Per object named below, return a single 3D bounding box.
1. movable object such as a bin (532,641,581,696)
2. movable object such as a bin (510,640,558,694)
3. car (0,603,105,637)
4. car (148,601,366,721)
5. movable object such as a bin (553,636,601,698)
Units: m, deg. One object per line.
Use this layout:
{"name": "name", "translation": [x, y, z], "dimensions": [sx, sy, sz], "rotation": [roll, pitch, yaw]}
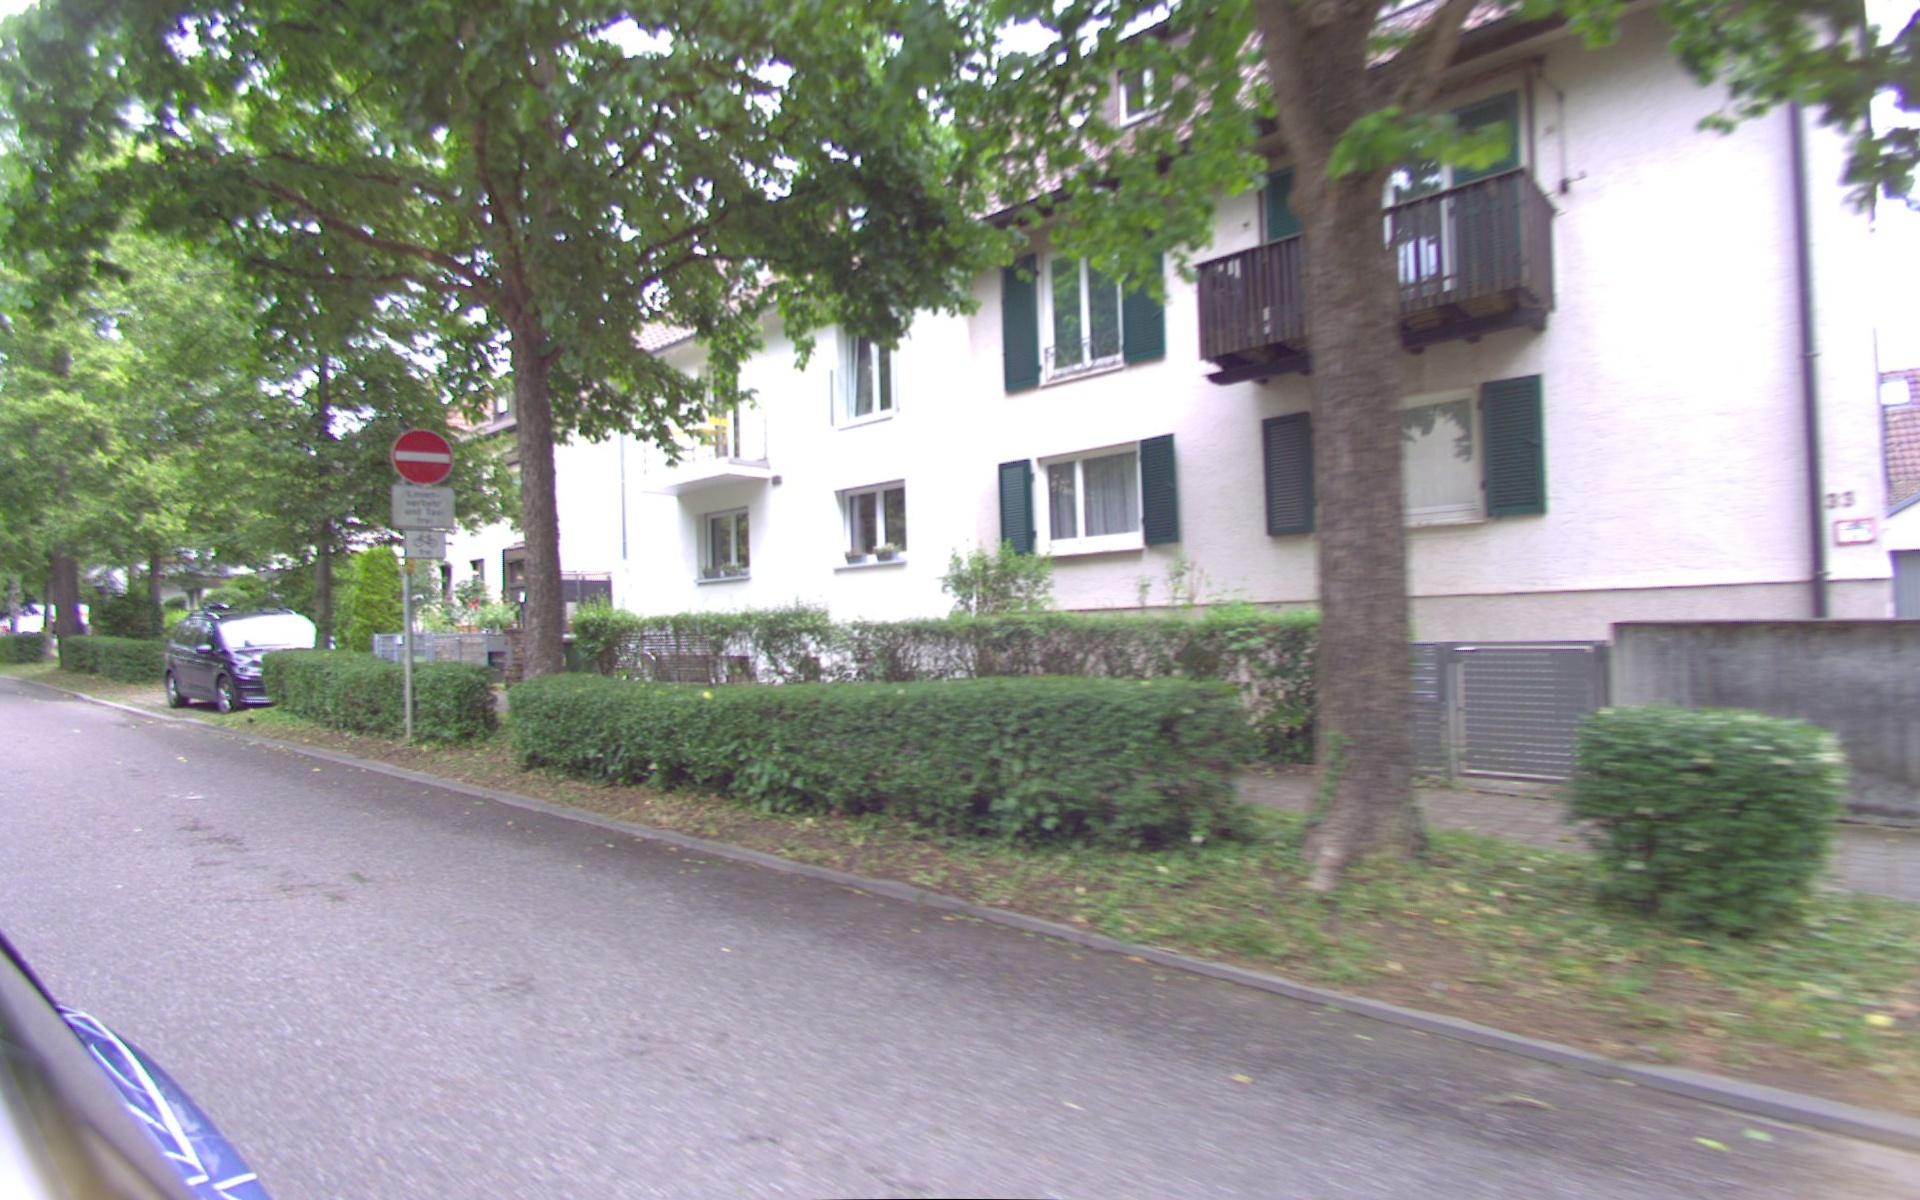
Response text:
{"name": "movable object such as a bin", "translation": [-7.199, 1.205, 18.060], "dimensions": [0.639, 0.947, 0.554], "rotation": [-1, -2, 36]}
{"name": "movable object such as a bin", "translation": [-7.774, 1.213, 18.469], "dimensions": [0.639, 0.947, 0.554], "rotation": [-1, -2, 36]}
{"name": "car", "translation": [-65.337, 1.436, 72.403], "dimensions": [1.961, 2.365, 6.330], "rotation": [-1, -1, 19]}
{"name": "car", "translation": [-11.997, 0.958, 17.171], "dimensions": [4.447, 1.767, 1.807], "rotation": [-2, -1, 38]}
{"name": "movable object such as a bin", "translation": [-6.682, 1.156, 17.668], "dimensions": [0.600, 1.033, 0.554], "rotation": [-1, -2, 36]}
